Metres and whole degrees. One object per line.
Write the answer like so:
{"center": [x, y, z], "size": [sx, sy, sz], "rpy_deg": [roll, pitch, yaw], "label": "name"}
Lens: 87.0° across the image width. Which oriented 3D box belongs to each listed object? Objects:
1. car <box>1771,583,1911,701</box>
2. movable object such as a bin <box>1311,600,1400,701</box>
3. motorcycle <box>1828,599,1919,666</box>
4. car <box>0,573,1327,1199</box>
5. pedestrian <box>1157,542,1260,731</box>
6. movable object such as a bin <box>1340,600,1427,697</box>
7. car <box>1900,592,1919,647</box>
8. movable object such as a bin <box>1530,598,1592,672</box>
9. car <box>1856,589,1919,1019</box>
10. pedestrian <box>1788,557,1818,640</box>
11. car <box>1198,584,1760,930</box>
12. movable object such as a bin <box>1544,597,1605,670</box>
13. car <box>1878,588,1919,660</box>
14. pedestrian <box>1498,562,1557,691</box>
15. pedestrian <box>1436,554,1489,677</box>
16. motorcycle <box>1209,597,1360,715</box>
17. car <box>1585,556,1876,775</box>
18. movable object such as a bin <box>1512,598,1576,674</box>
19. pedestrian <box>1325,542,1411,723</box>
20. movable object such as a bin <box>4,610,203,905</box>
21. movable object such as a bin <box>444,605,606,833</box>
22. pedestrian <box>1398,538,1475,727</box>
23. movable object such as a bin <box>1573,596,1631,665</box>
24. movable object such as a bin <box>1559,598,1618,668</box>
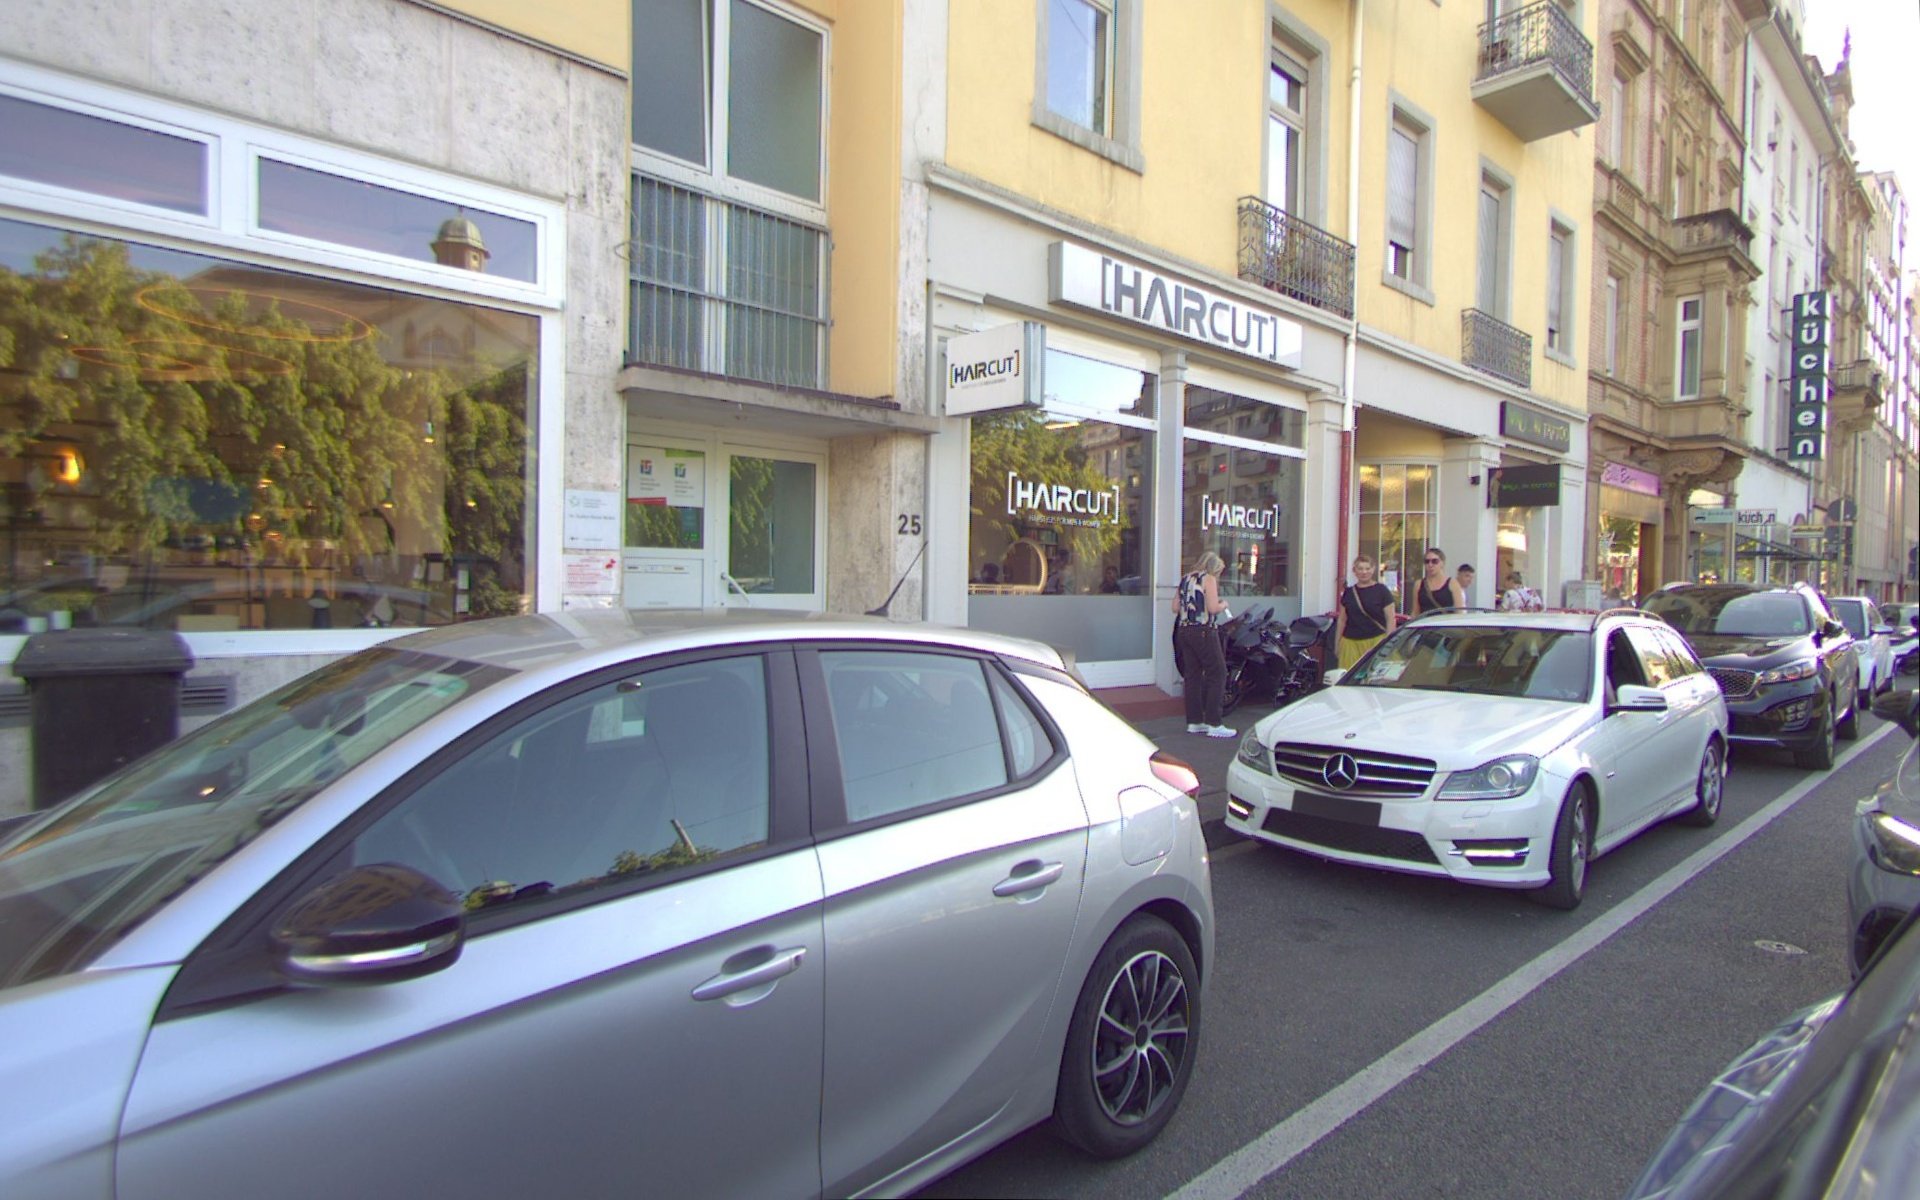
{"center": [12.797, 0.542, 14.661], "size": [2.748, 1.537, 1.273], "rpy_deg": [0, 1, -44], "label": "car"}
{"center": [4.453, 0.550, 11.403], "size": [0.608, 1.054, 0.661], "rpy_deg": [1, 3, -38], "label": "movable object such as a bin"}
{"center": [19.059, 0.654, 20.470], "size": [2.137, 1.295, 0.866], "rpy_deg": [1, 0, 7], "label": "motorcycle"}
{"center": [-0.875, 0.673, 2.453], "size": [4.008, 1.445, 1.672], "rpy_deg": [0, 1, -43], "label": "car"}
{"center": [2.282, 0.307, 9.305], "size": [0.523, 1.653, 0.697], "rpy_deg": [0, 2, -43], "label": "pedestrian"}
{"center": [4.935, 0.548, 11.795], "size": [0.608, 1.037, 0.669], "rpy_deg": [0, 3, -38], "label": "movable object such as a bin"}
{"center": [26.641, 0.507, 27.135], "size": [3.736, 1.435, 1.736], "rpy_deg": [0, 1, -41], "label": "car"}
{"center": [9.290, 0.523, 15.654], "size": [0.608, 1.079, 0.606], "rpy_deg": [0, 4, -41], "label": "movable object such as a bin"}
{"center": [5.385, 0.702, 4.306], "size": [4.297, 1.467, 1.846], "rpy_deg": [0, 1, -41], "label": "car"}
{"center": [18.607, -0.037, 22.334], "size": [0.473, 1.785, 0.434], "rpy_deg": [0, 0, -41], "label": "pedestrian"}
{"center": [3.530, 0.652, 6.446], "size": [4.387, 1.465, 1.741], "rpy_deg": [0, 1, -42], "label": "car"}
{"center": [9.748, 0.517, 16.047], "size": [0.608, 1.079, 0.606], "rpy_deg": [0, 4, -41], "label": "movable object such as a bin"}
{"center": [22.177, 0.520, 22.950], "size": [4.096, 1.537, 1.734], "rpy_deg": [0, 1, -44], "label": "car"}
{"center": [7.621, 0.338, 13.607], "size": [0.586, 1.681, 0.448], "rpy_deg": [2, 2, 24], "label": "pedestrian"}
{"center": [7.004, 0.208, 14.111], "size": [0.513, 1.681, 0.339], "rpy_deg": [1, 2, -19], "label": "pedestrian"}
{"center": [3.416, 0.532, 10.548], "size": [1.975, 1.105, 0.551], "rpy_deg": [0, 3, -42], "label": "motorcycle"}
{"center": [7.995, 0.498, 10.320], "size": [4.498, 1.758, 1.756], "rpy_deg": [0, 1, -45], "label": "car"}
{"center": [8.801, 0.529, 15.247], "size": [0.608, 1.079, 0.606], "rpy_deg": [0, 4, -41], "label": "movable object such as a bin"}
{"center": [3.891, 0.291, 9.658], "size": [0.455, 1.653, 0.617], "rpy_deg": [0, 0, -44], "label": "pedestrian"}
{"center": [-3.679, 0.615, 4.365], "size": [0.609, 1.080, 0.704], "rpy_deg": [0, 4, -41], "label": "movable object such as a bin"}
{"center": [-2.373, 0.598, 5.504], "size": [0.609, 1.080, 0.704], "rpy_deg": [0, 4, -41], "label": "movable object such as a bin"}
{"center": [4.323, 0.283, 9.183], "size": [0.408, 1.653, 0.514], "rpy_deg": [0, 0, -44], "label": "pedestrian"}
{"center": [10.710, 0.493, 16.892], "size": [0.608, 1.079, 0.606], "rpy_deg": [0, 4, -41], "label": "movable object such as a bin"}
{"center": [10.219, 0.524, 16.454], "size": [0.608, 1.079, 0.606], "rpy_deg": [0, 4, -41], "label": "movable object such as a bin"}
